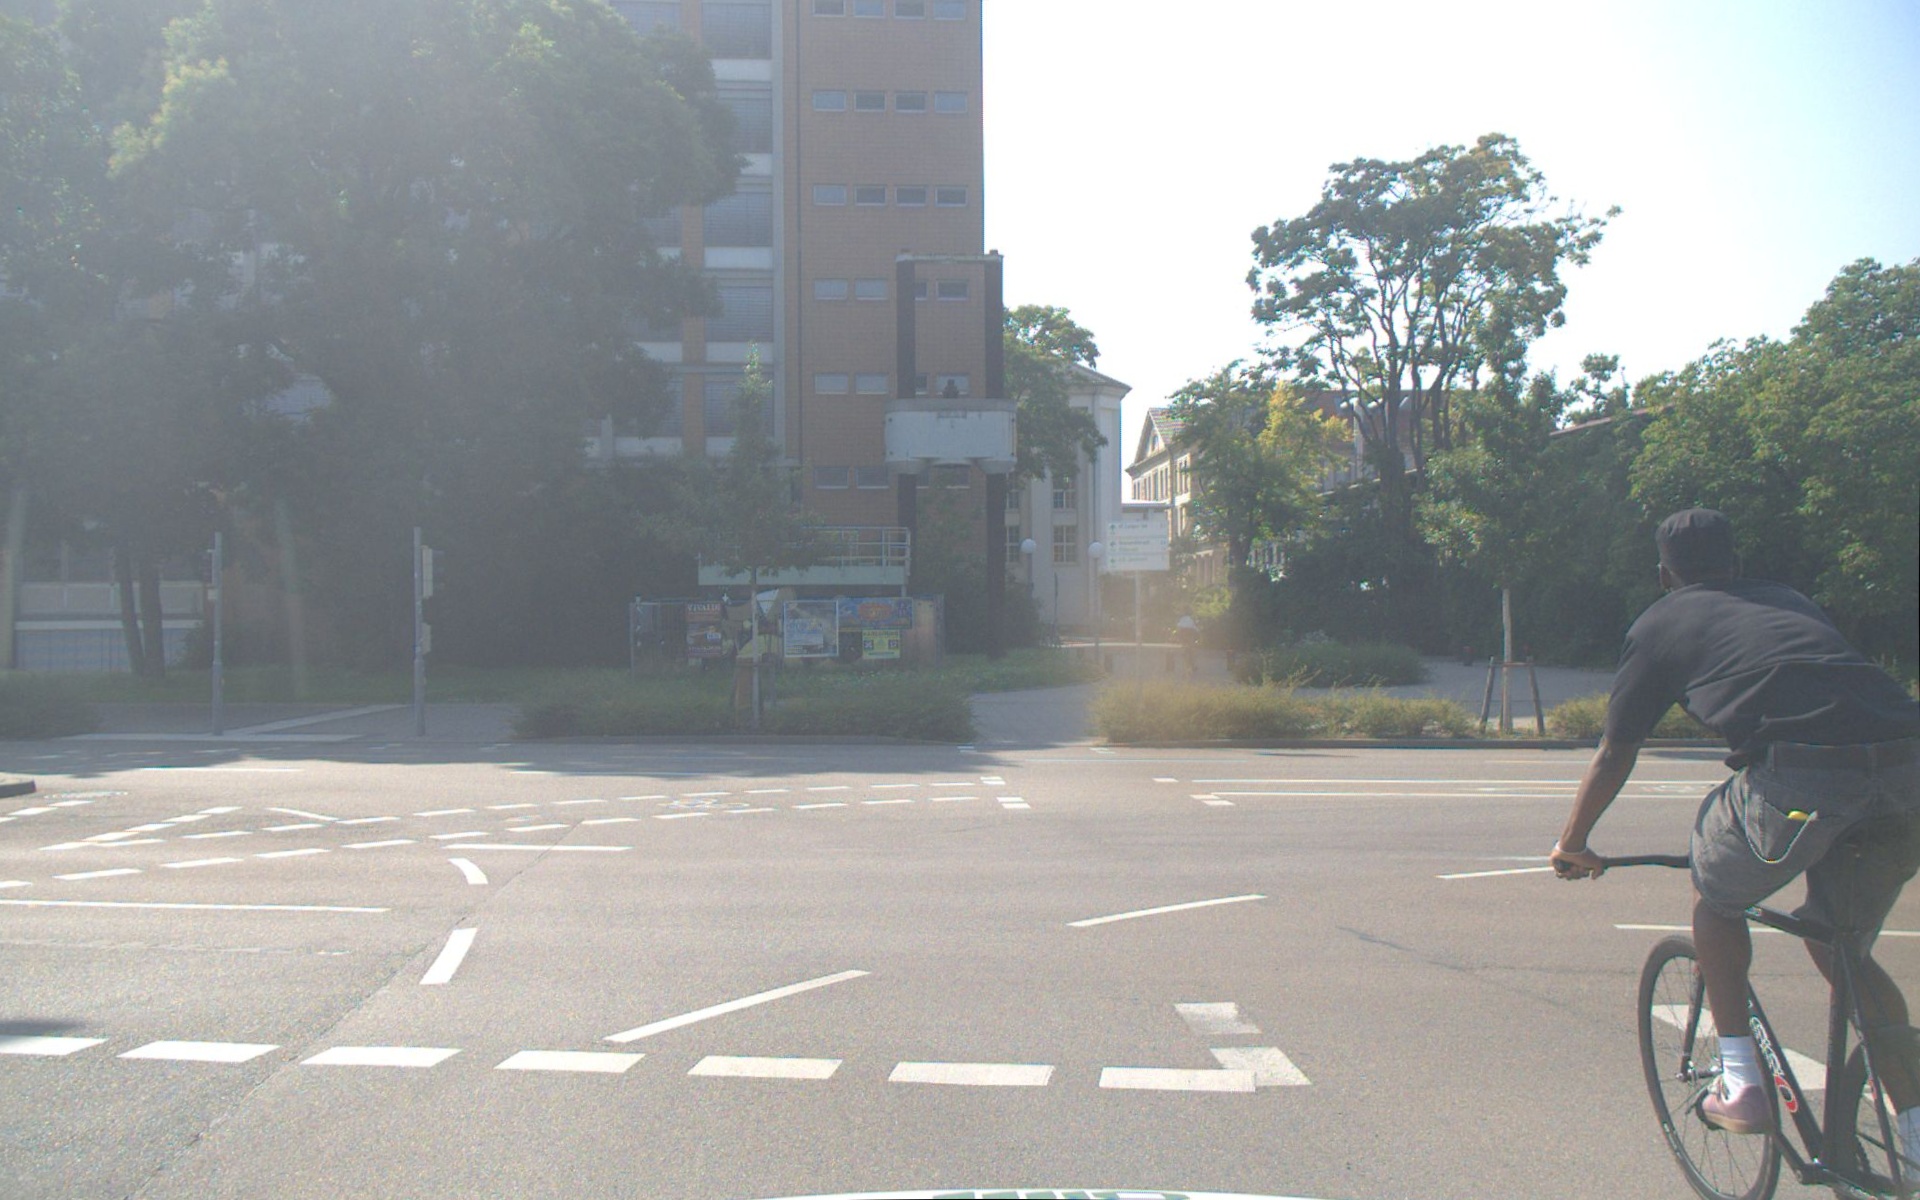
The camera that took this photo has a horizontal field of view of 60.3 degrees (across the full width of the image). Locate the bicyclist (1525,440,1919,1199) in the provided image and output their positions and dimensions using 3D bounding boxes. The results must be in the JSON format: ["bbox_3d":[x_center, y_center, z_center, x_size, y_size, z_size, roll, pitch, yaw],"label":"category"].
[{"bbox_3d":[1.810,0.505,3.595,0.756,1.606,0.989,-1,0,-4],"label":"bicyclist"}]

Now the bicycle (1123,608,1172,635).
[{"bbox_3d":[9.395,1.073,82.979,2.376,1.304,0.720,1,-1,1],"label":"bicycle"}]

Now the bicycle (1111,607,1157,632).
[{"bbox_3d":[9.458,1.070,89.977,2.376,1.284,0.720,1,-1,1],"label":"bicycle"}]

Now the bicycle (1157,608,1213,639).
[{"bbox_3d":[9.865,1.028,72.625,2.376,1.341,0.720,1,-1,1],"label":"bicycle"}]

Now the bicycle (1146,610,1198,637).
[{"bbox_3d":[10.044,1.109,78.379,2.376,1.256,0.720,1,-1,1],"label":"bicycle"}]

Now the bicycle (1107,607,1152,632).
[{"bbox_3d":[9.295,1.084,90.867,2.376,1.303,0.720,1,-1,1],"label":"bicycle"}]

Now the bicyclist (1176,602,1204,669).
[{"bbox_3d":[5.734,0.875,41.290,0.636,1.629,0.920,-1,0,5],"label":"bicyclist"}]

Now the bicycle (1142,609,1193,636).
[{"bbox_3d":[10.082,1.080,80.284,2.376,1.250,0.720,1,-1,1],"label":"bicycle"}]

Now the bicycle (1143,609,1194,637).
[{"bbox_3d":[9.991,1.098,79.234,2.376,1.261,0.720,1,-1,1],"label":"bicycle"}]

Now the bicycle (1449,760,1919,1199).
[{"bbox_3d":[1.827,0.952,3.591,0.756,0.993,2.148,-1,0,-4],"label":"bicycle"}]

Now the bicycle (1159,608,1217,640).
[{"bbox_3d":[9.849,1.033,71.488,2.376,1.341,0.720,1,-1,1],"label":"bicycle"}]

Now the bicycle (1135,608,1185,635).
[{"bbox_3d":[9.873,1.069,81.866,2.376,1.304,0.720,1,-1,1],"label":"bicycle"}]

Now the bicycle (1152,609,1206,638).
[{"bbox_3d":[9.957,1.073,75.166,2.376,1.245,0.720,1,-1,1],"label":"bicycle"}]

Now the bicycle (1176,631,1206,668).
[{"bbox_3d":[5.737,1.224,41.200,0.659,0.895,1.402,-1,0,5],"label":"bicycle"}]

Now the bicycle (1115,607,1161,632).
[{"bbox_3d":[9.465,1.042,88.201,2.376,1.304,0.720,1,-1,1],"label":"bicycle"}]
